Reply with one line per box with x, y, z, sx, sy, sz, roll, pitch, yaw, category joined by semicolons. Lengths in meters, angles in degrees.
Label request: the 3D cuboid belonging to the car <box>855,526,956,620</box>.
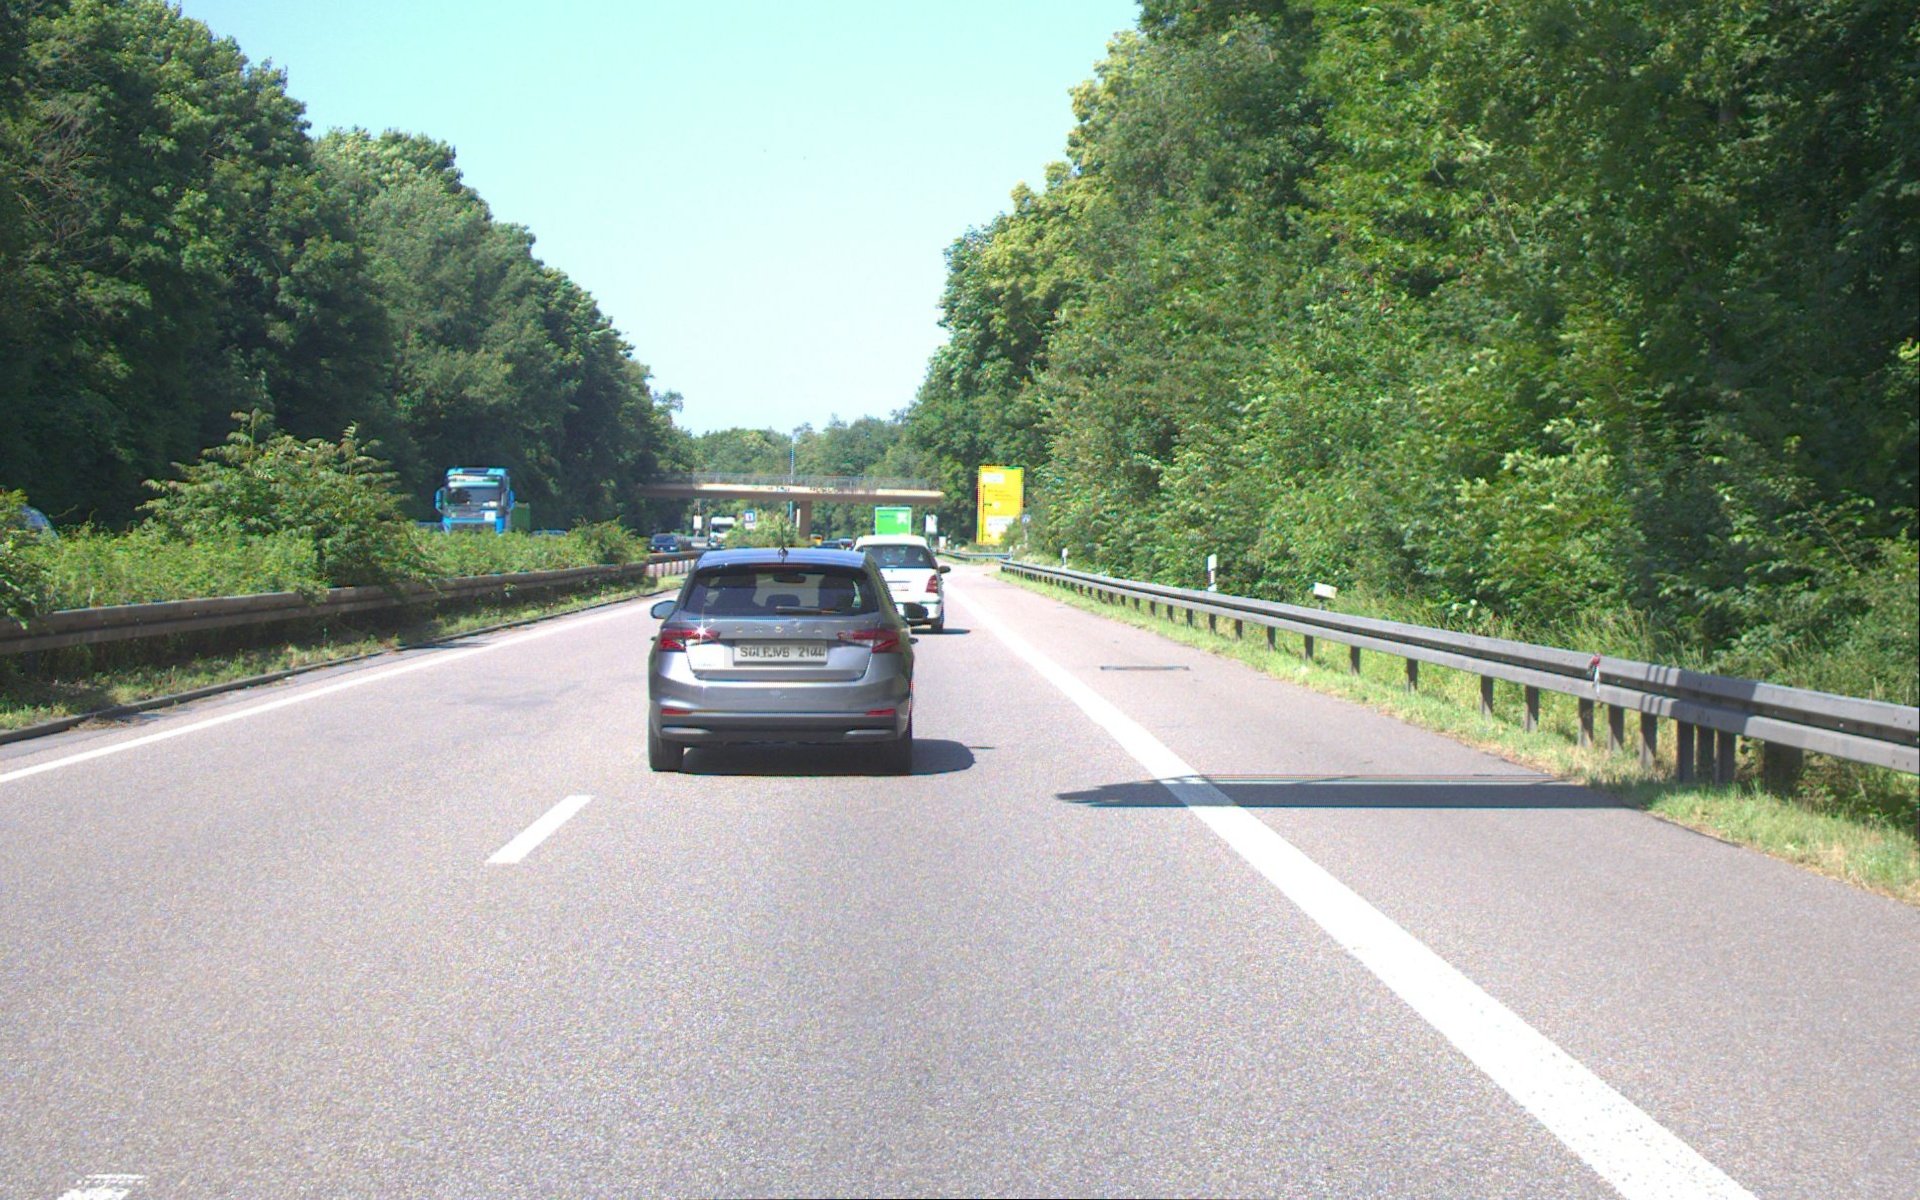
-0.864;-0.459;55.611;1.522;1.441;3.340;1;1;1;car

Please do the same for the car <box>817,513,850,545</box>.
-8.127;-4.589;221.355;1.993;2.007;4.000;1;1;-1;car

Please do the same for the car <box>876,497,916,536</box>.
-4.550;-5.922;244.005;2.748;2.645;4.000;1;1;-1;car

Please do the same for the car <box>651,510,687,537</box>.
-16.207;-4.233;191.462;1.672;1.468;3.623;1;1;1;car

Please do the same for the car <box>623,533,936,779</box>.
-1.124;0.310;22.978;1.840;1.467;3.623;1;1;1;car

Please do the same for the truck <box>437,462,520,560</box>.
-18.488;-3.393;132.212;2.646;3.693;4.000;1;1;-1;truck
